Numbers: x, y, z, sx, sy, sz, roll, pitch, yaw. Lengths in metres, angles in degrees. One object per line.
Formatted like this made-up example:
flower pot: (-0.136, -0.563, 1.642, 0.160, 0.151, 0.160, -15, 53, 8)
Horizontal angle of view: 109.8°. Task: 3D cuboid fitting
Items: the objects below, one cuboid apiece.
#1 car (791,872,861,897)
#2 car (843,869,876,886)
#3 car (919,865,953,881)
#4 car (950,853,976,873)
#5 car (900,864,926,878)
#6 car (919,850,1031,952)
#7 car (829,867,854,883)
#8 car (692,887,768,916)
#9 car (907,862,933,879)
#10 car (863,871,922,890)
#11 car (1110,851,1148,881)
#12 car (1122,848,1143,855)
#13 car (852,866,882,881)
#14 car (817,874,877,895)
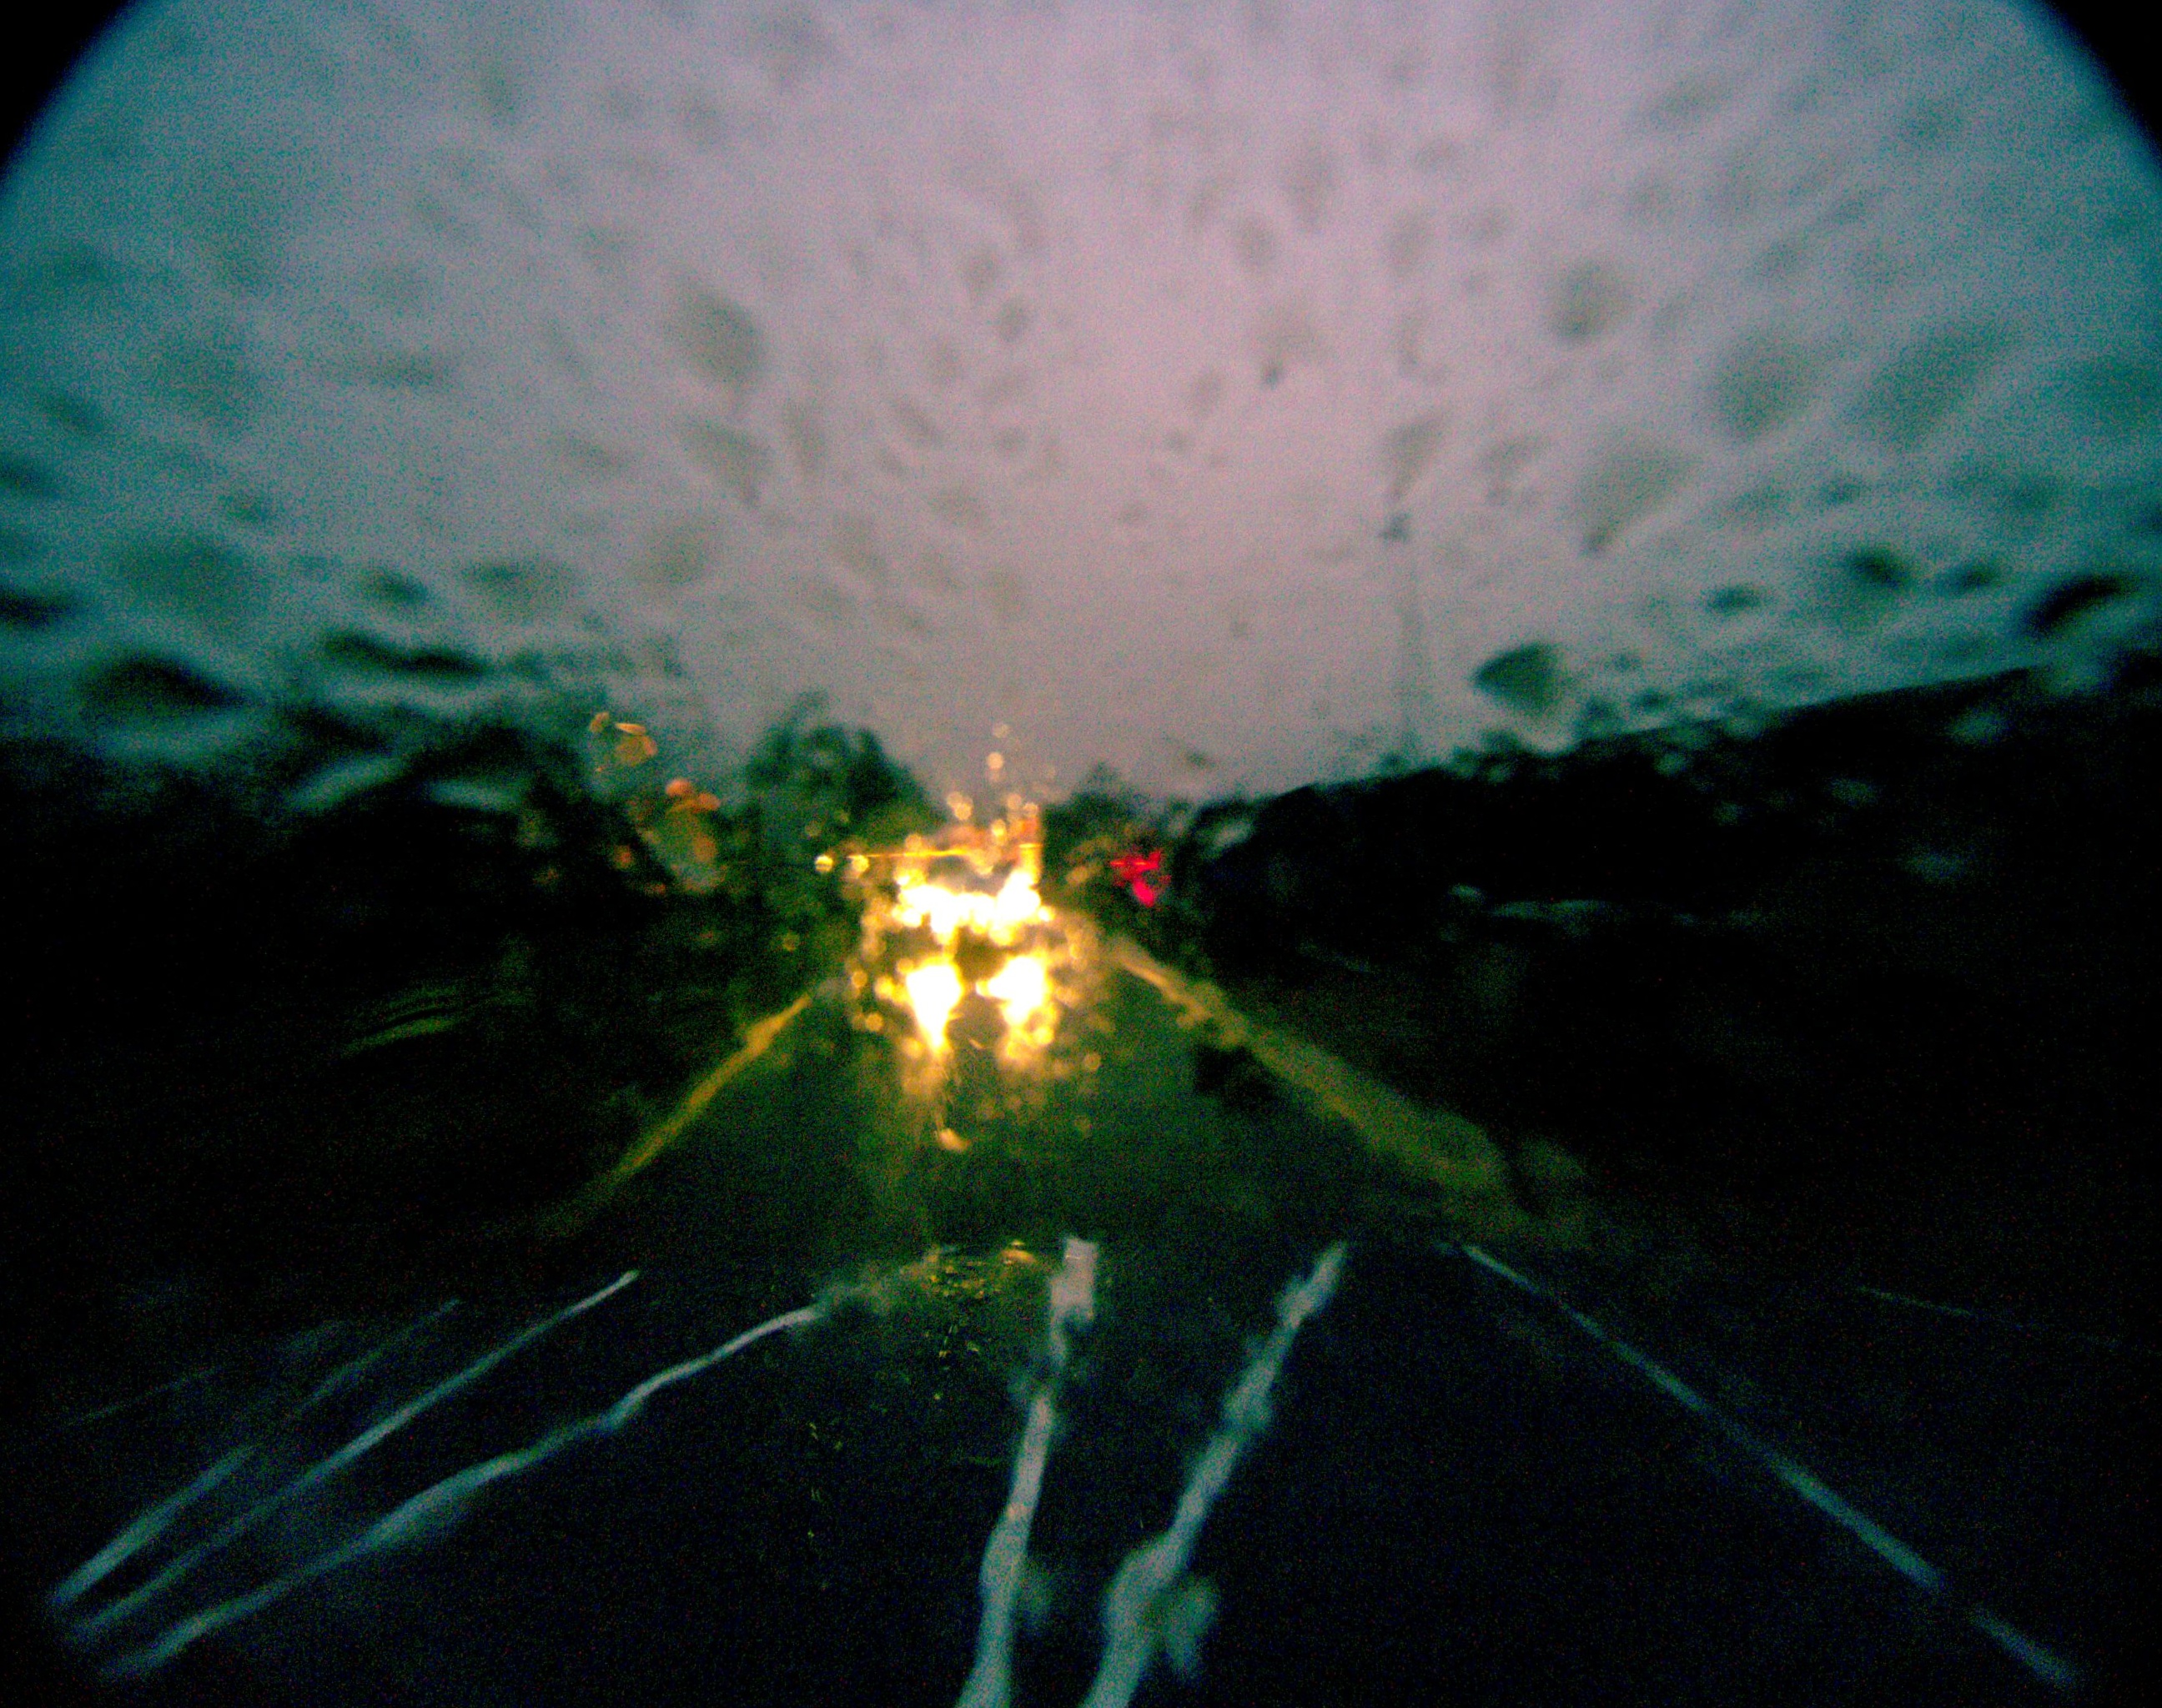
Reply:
car: (-18.770, 2.220, 55.922, 4.593, 1.447, 1.927, -3, 2, -28)
car: (-22.341, 2.360, 76.481, 1.829, 1.630, 4.459, -3, 0, -33)
car: (-14.325, 1.866, 75.461, 1.770, 1.421, 3.815, -1, 2, 16)
car: (-15.719, 1.188, 100.793, 2.283, 2.426, 5.229, -2, 2, -22)
car: (-19.280, 1.975, 87.157, 1.723, 1.508, 3.249, -4, 1, -36)
car: (-2.059, 0.796, 15.185, 1.810, 1.453, 4.241, -4, 3, -7)
car: (-25.629, 2.196, 81.206, 1.730, 1.493, 4.017, -2, 1, -29)
car: (-21.193, 2.840, 45.908, 4.006, 1.431, 1.793, -2, 2, -30)
car: (-20.211, 2.040, 95.273, 1.890, 1.947, 4.949, -4, 1, -27)
car: (-16.402, 2.288, 66.194, 4.710, 1.389, 1.900, -2, 2, -23)
car: (2.541, 0.598, 41.271, 1.611, 1.461, 3.684, -2, 1, -3)
car: (10.496, -0.510, 155.650, 4.007, 1.523, 1.716, -1, 2, 11)
car: (-23.993, 2.158, 85.212, 1.804, 1.586, 3.969, -2, 1, -38)
car: (-18.326, 2.373, 59.447, 4.185, 1.389, 1.900, -2, 2, -26)
